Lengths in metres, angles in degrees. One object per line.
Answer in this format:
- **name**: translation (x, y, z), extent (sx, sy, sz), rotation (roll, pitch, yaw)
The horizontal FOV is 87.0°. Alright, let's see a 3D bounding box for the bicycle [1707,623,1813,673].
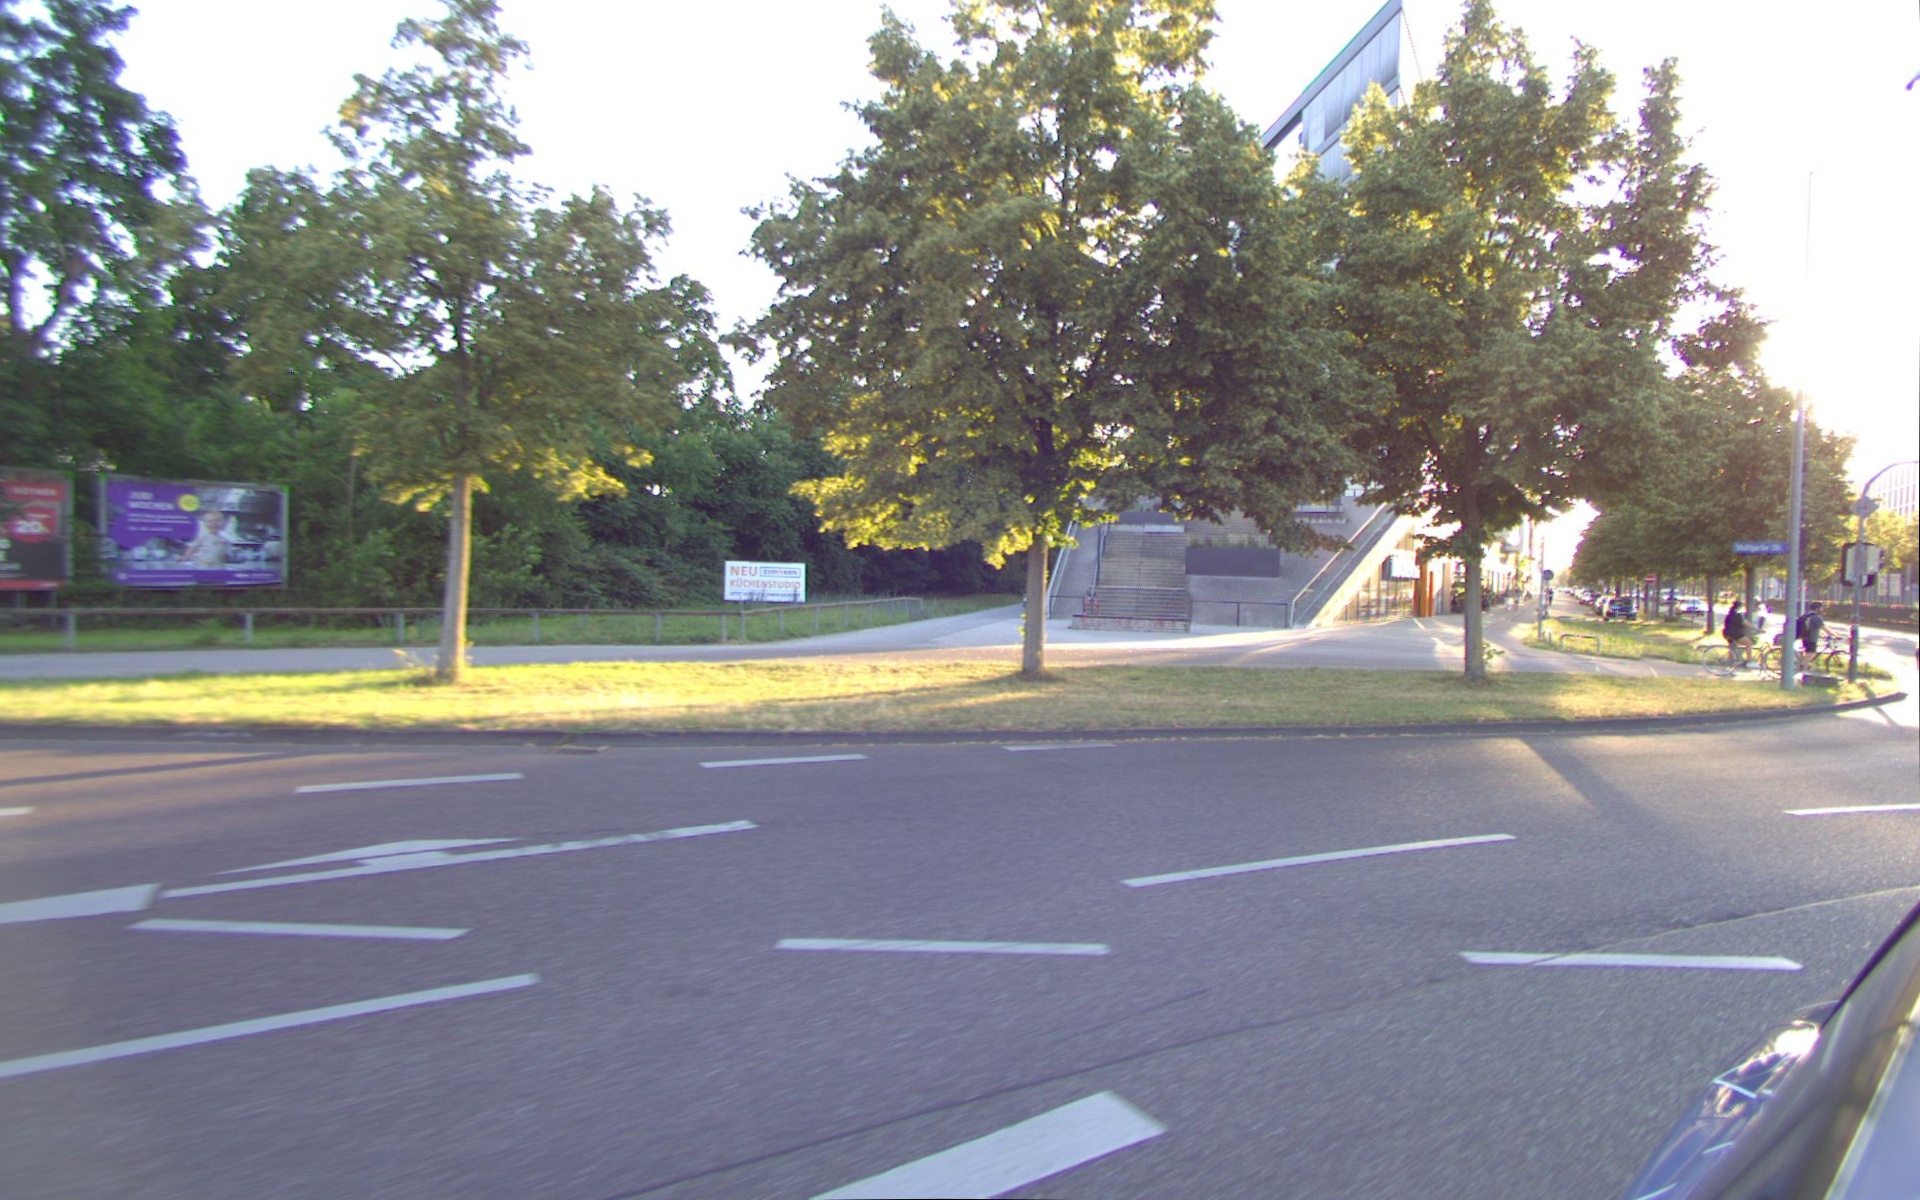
- **bicycle**: translation (18.116, 1.083, 22.961), extent (1.842, 1.035, 0.306), rotation (2, 1, 23)

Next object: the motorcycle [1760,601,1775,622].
- **motorcycle**: translation (45.277, 0.646, 56.722), extent (0.556, 1.115, 2.128), rotation (0, 0, 41)

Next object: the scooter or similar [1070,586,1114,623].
- **scooter or similar**: translation (4.642, 0.140, 35.694), extent (1.571, 1.235, 0.361), rotation (2, 1, 42)

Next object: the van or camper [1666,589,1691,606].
- **van or camper**: translation (88.555, -0.357, 124.770), extent (1.984, 1.981, 5.272), rotation (2, 2, 30)

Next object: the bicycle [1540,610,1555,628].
- **bicycle**: translation (31.556, 1.012, 54.367), extent (0.546, 0.862, 2.613), rotation (2, 1, 33)

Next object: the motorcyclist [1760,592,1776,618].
- **motorcyclist**: translation (45.502, 0.278, 56.970), extent (0.634, 1.426, 0.585), rotation (2, 2, 41)

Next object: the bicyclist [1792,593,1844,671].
- **bicyclist**: translation (20.139, 0.730, 23.772), extent (0.845, 1.777, 0.793), rotation (2, 1, 38)

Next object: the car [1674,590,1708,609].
- **car**: translation (60.193, -0.056, 83.392), extent (1.878, 1.499, 4.007), rotation (2, 2, 31)

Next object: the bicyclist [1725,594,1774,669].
- **bicyclist**: translation (18.018, 0.701, 23.109), extent (0.676, 1.668, 0.679), rotation (2, 1, 22)

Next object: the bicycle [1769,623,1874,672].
- **bicycle**: translation (20.306, 1.100, 23.895), extent (1.854, 1.035, 0.431), rotation (2, 1, 39)

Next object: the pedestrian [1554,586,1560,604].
- **pedestrian**: translation (66.408, -0.571, 112.609), extent (0.534, 2.039, 0.521), rotation (1, 1, 31)

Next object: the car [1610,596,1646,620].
- **car**: translation (44.792, 0.502, 67.939), extent (1.789, 1.482, 3.956), rotation (2, 1, 31)

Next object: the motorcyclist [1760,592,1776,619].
- **motorcyclist**: translation (45.073, 0.293, 56.473), extent (0.634, 1.433, 0.704), rotation (2, 2, 41)

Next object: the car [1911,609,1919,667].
- **car**: translation (24.874, 1.012, 24.543), extent (1.789, 1.482, 3.956), rotation (2, 1, 31)

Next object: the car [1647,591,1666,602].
- **car**: translation (106.079, -0.545, 154.081), extent (1.877, 1.643, 3.960), rotation (2, 1, 28)

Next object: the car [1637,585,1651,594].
- **car**: translation (118.942, -1.856, 175.947), extent (1.789, 1.482, 3.956), rotation (2, 1, 31)

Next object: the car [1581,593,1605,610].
- **car**: translation (60.064, 0.136, 96.029), extent (1.789, 1.482, 3.956), rotation (2, 1, 31)

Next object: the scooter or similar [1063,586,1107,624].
- **scooter or similar**: translation (4.359, 0.165, 35.378), extent (1.571, 1.235, 0.361), rotation (2, 1, 42)
